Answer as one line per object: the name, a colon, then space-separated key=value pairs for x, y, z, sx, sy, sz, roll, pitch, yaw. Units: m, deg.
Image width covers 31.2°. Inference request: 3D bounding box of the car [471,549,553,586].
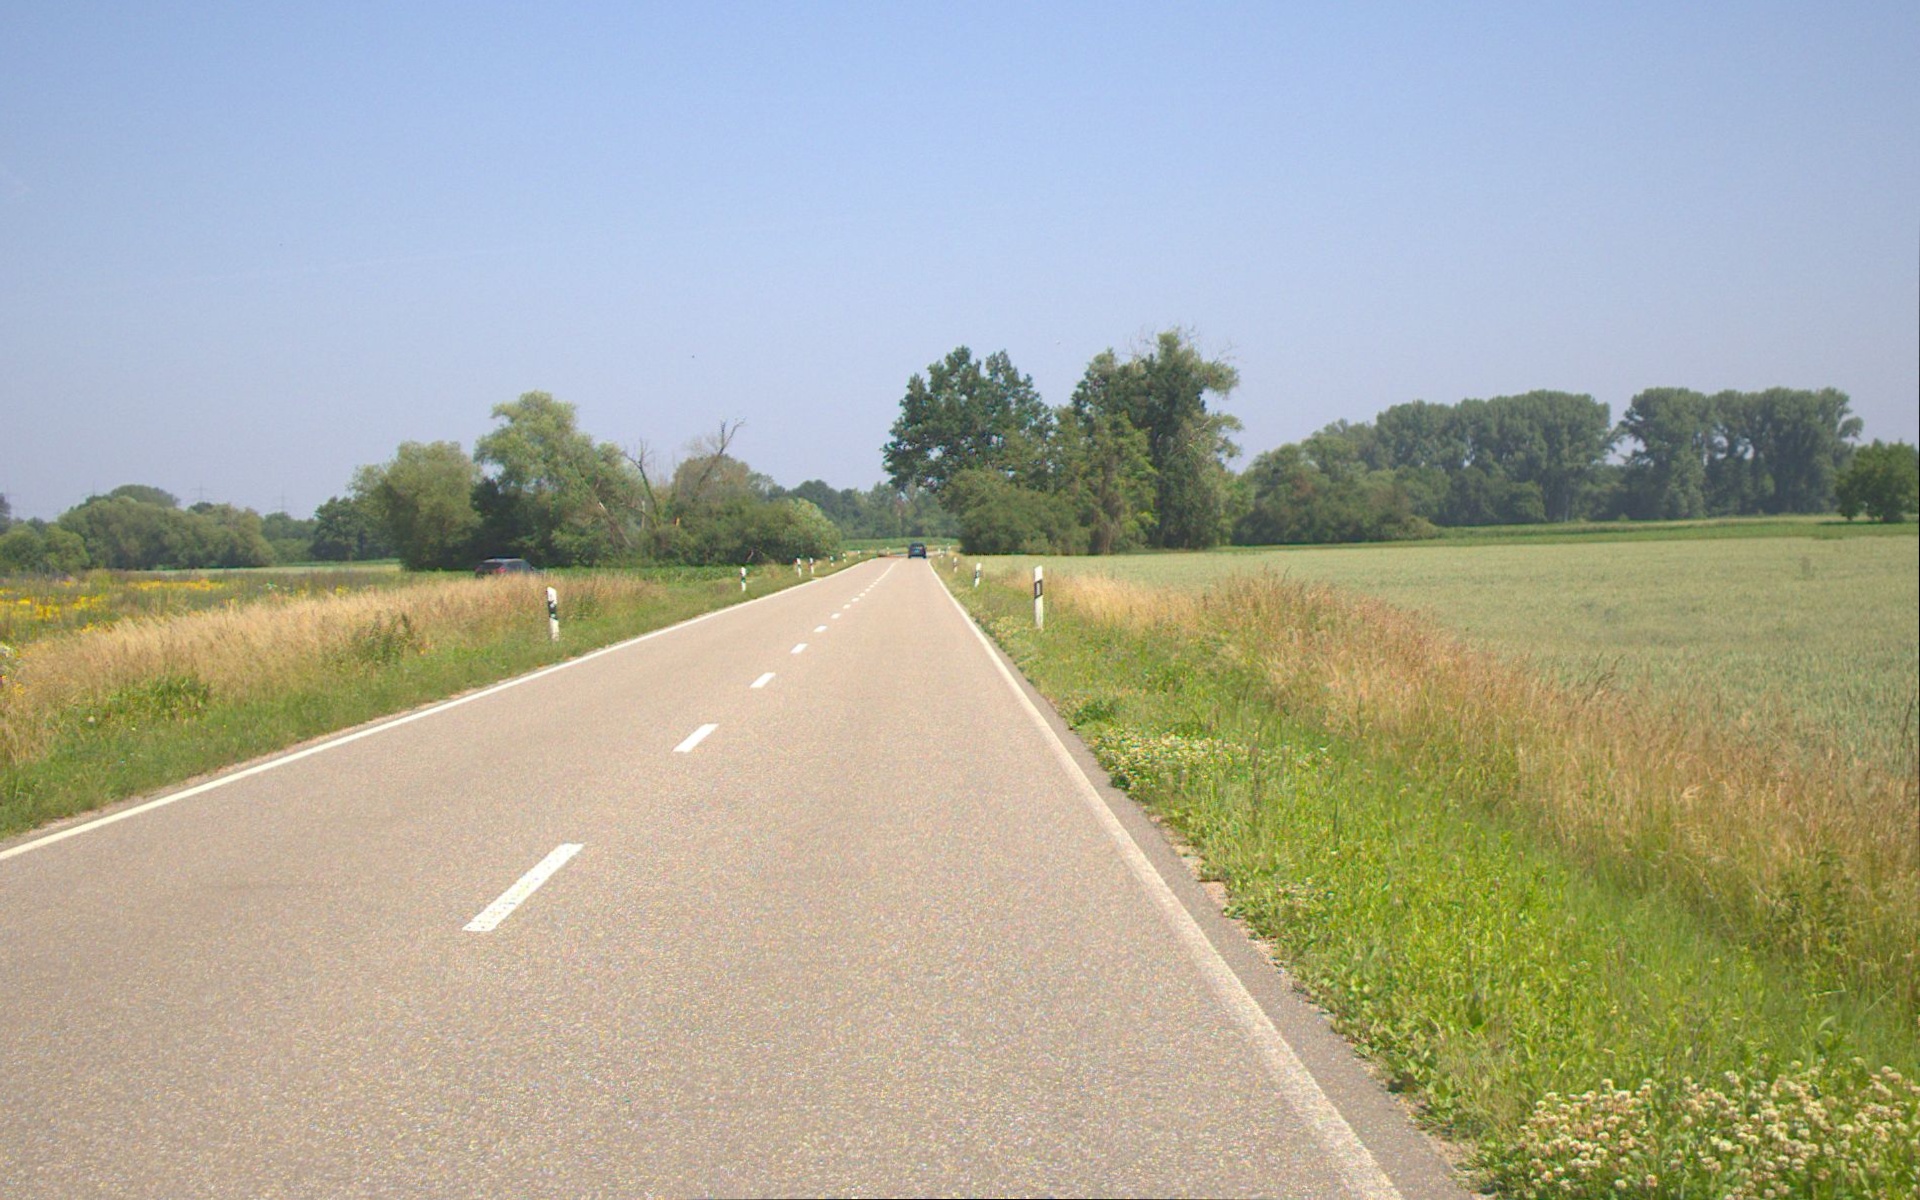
car: x=-21.825 y=-1.589 z=167.527 sx=1.755 sy=1.645 sz=4.524 roll=-1 pitch=1 yaw=25
